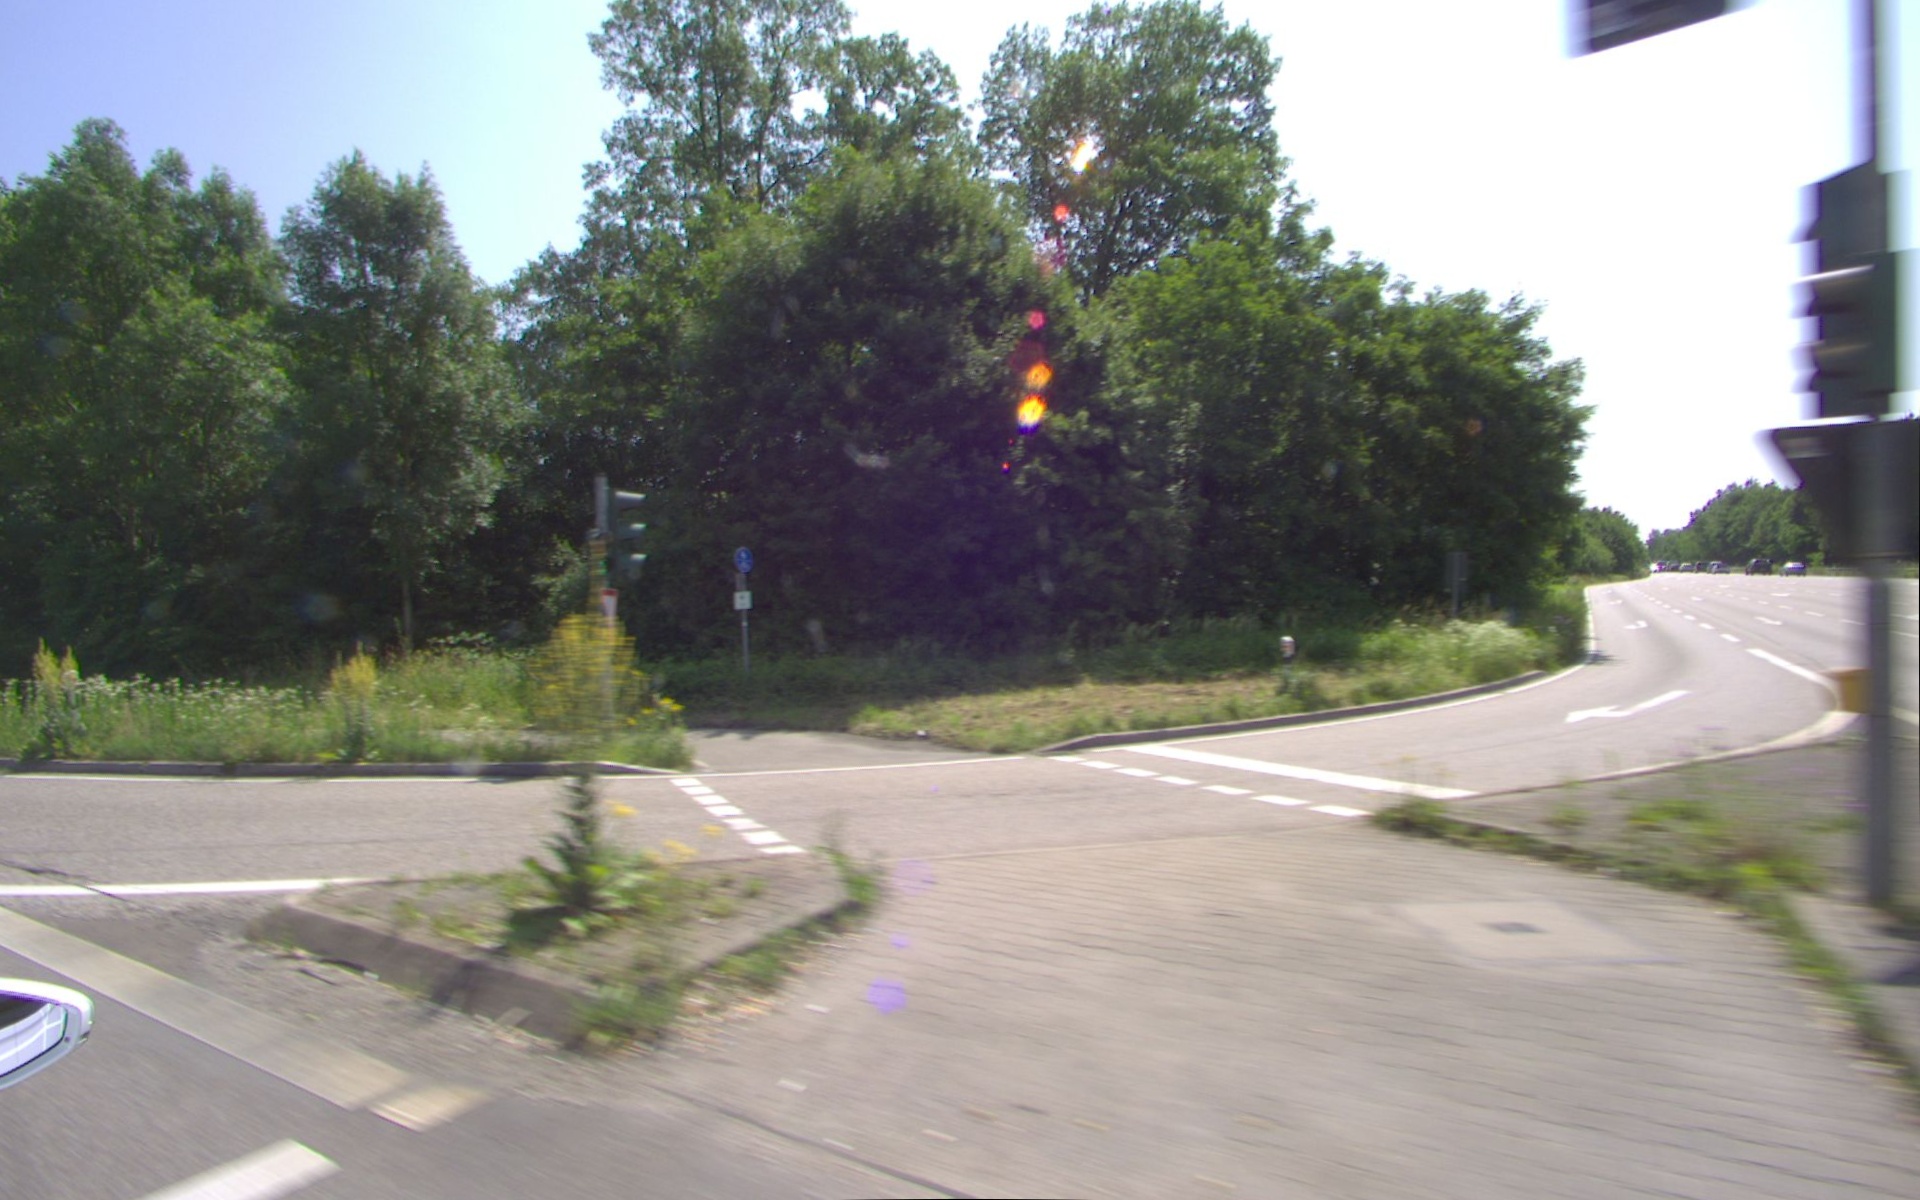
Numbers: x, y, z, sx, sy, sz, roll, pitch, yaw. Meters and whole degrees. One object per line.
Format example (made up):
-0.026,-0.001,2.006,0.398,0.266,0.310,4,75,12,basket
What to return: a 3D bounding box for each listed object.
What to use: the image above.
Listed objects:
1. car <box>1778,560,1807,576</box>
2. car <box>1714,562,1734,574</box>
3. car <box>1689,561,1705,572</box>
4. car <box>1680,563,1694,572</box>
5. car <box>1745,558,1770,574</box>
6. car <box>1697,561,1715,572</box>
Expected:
85.506,-3.309,102.884,1.821,1.518,4.436,-1,0,33,car
105.373,-4.447,138.165,1.821,1.518,4.436,-1,0,33,car
118.636,-5.397,161.184,1.821,1.518,4.436,-1,0,33,car
129.805,-5.734,178.826,1.821,1.518,4.436,-1,0,33,car
91.575,-3.886,115.050,1.821,1.774,4.436,-1,0,33,car
109.908,-4.911,147.605,1.821,1.518,4.436,-1,0,33,car
